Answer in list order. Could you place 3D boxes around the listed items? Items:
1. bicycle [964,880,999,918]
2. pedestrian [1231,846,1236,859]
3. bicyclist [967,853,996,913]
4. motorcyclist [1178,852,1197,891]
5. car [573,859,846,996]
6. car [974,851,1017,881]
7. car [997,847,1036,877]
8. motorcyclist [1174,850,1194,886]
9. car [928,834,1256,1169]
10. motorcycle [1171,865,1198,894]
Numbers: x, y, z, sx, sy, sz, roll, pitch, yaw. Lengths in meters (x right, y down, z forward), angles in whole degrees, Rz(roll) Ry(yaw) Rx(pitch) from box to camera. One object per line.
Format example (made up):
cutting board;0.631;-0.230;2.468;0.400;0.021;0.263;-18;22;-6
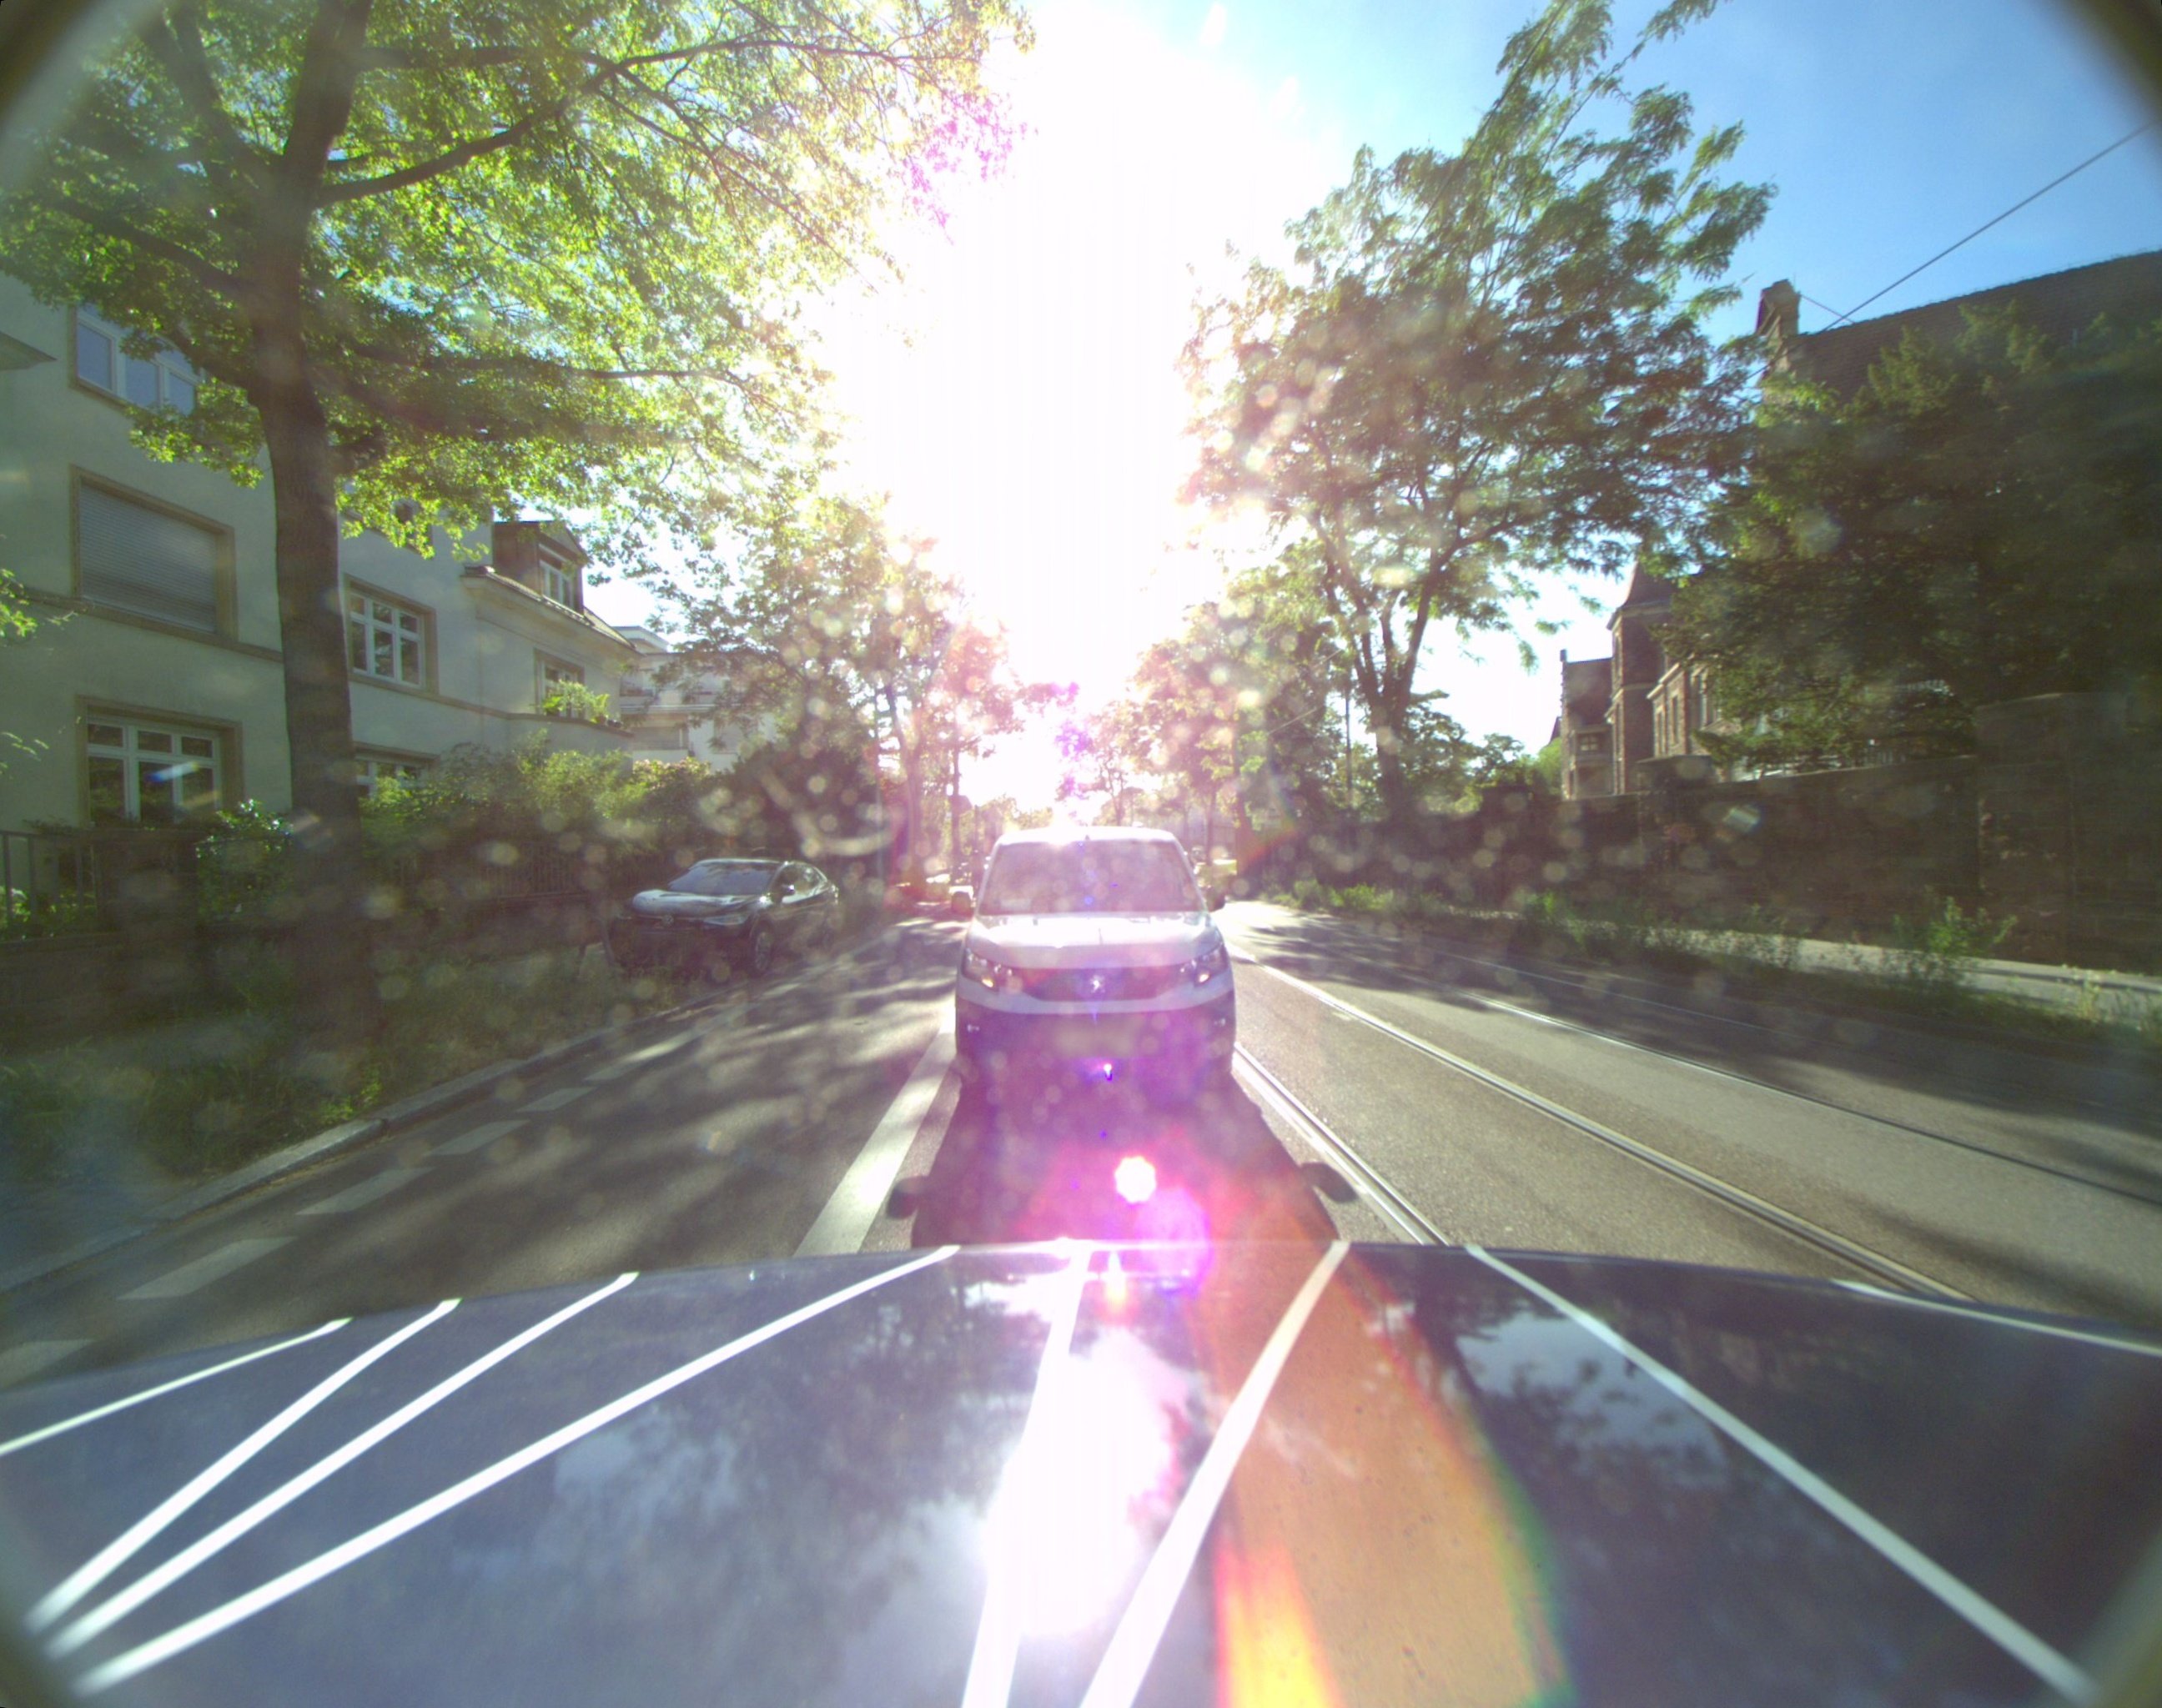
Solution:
bicycle;-2.806;1.257;21.603;0.677;0.920;1.885;-2;0;1
pedestrian;27.733;-0.261;138.296;0.767;2.353;0.927;-2;1;16
bicyclist;-2.817;0.810;21.561;0.677;1.648;0.745;-2;1;1
motorcyclist;4.179;0.679;29.884;0.608;1.507;0.465;-2;1;-9
car;-5.251;0.934;11.554;1.999;1.665;4.380;1;-1;0
car;-5.041;0.661;45.227;1.823;1.630;4.001;-2;0;4
car;-4.356;0.503;51.788;2.129;1.884;4.746;-2;0;1
motorcyclist;4.127;0.549;30.396;0.686;1.432;0.446;-2;1;-6
car;0.054;0.799;6.147;1.768;1.812;3.999;-1;0;0
motorcycle;4.125;0.987;30.364;0.611;1.087;1.855;-2;0;-7
